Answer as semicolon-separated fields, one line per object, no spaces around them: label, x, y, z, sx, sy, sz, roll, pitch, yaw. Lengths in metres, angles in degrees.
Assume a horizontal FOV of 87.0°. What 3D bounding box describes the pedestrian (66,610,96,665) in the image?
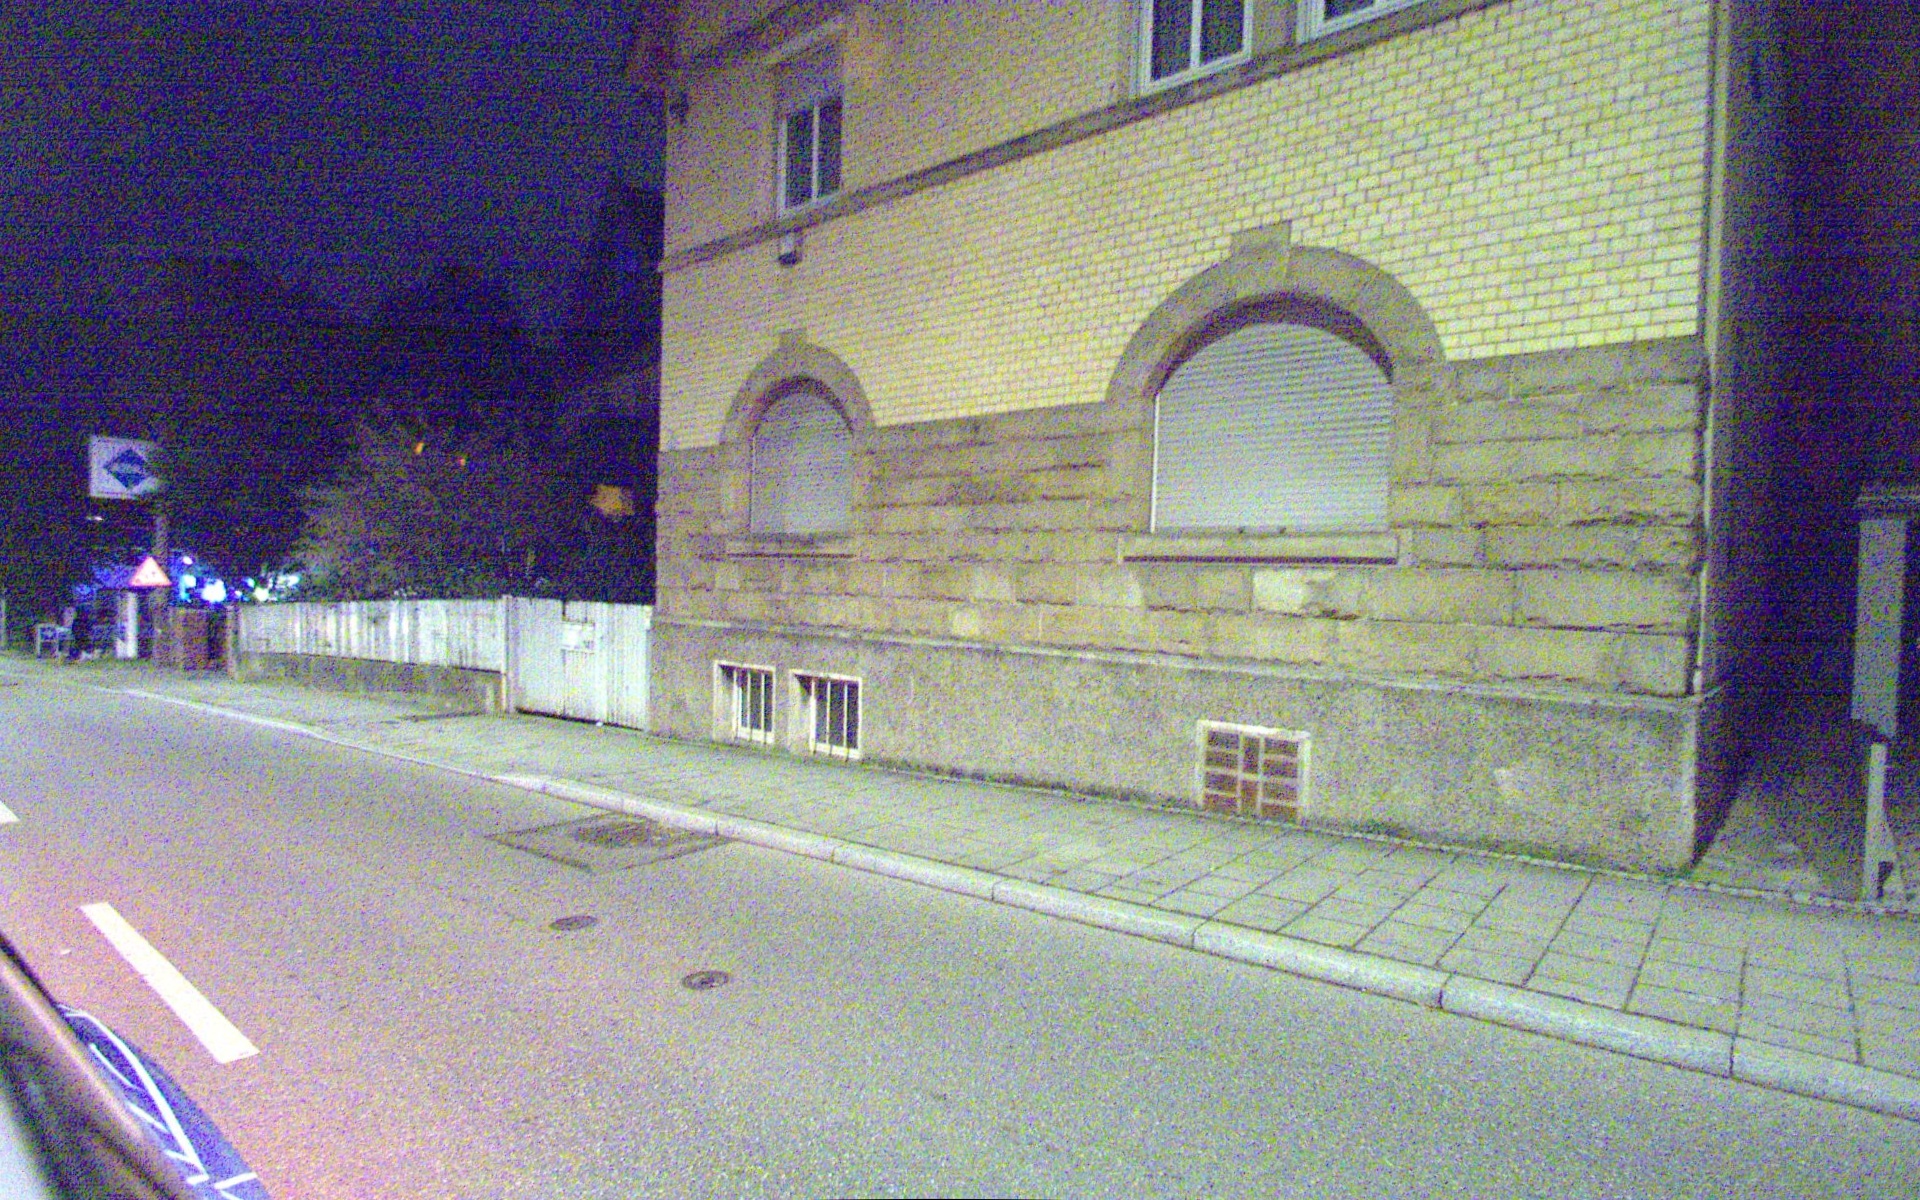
pedestrian;-28.708;1.204;33.041;0.500;1.773;0.664;-1;0;41
